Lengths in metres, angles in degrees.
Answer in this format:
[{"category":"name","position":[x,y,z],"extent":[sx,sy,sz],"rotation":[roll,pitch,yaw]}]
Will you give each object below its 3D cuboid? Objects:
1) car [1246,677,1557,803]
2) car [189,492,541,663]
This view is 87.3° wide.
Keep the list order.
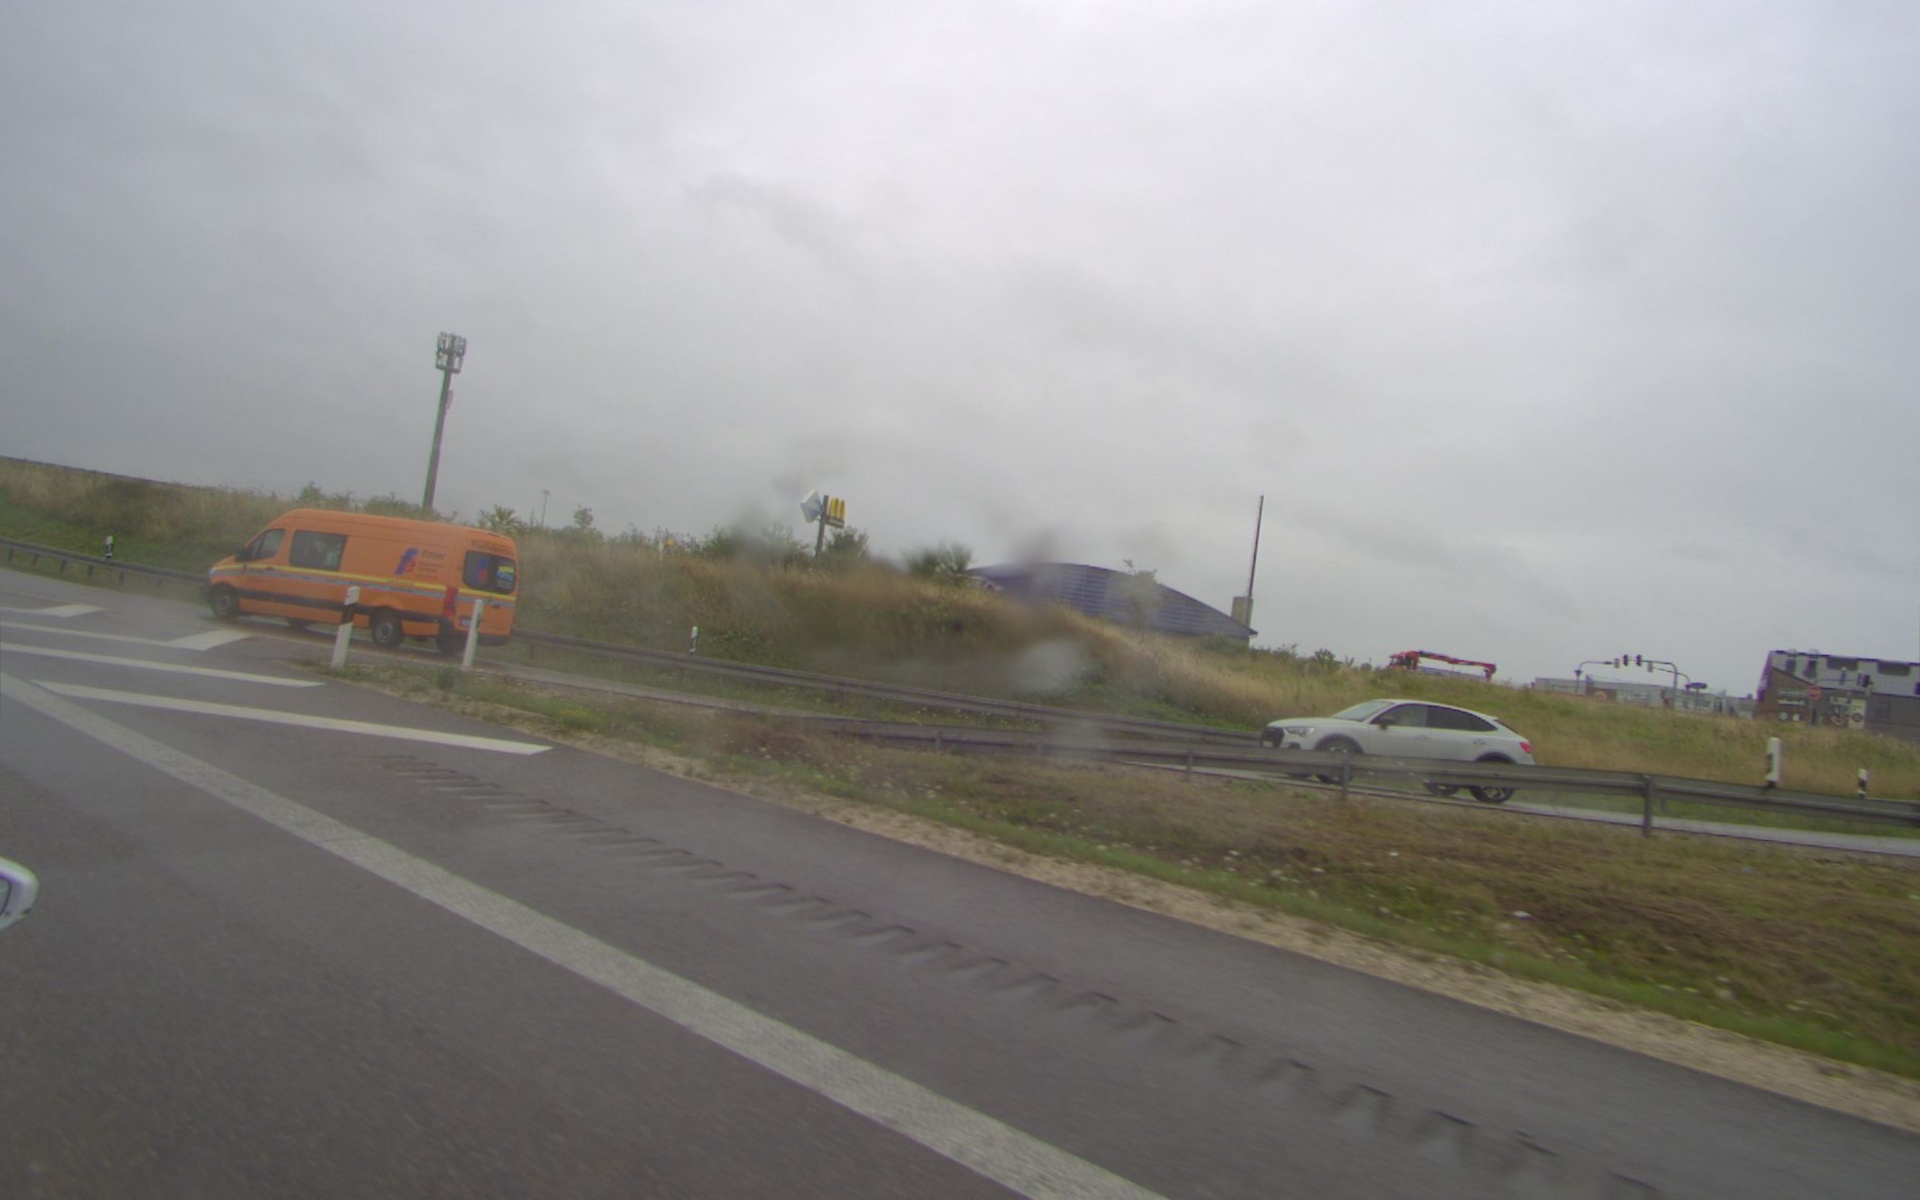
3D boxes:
[{"category":"car","position":[7.440,2.341,17.250],"extent":[4.396,1.502,1.916],"rotation":[7,-3,-3]},{"category":"car","position":[-12.719,-0.471,21.551],"extent":[6.755,2.644,2.071],"rotation":[7,-2,15]}]
